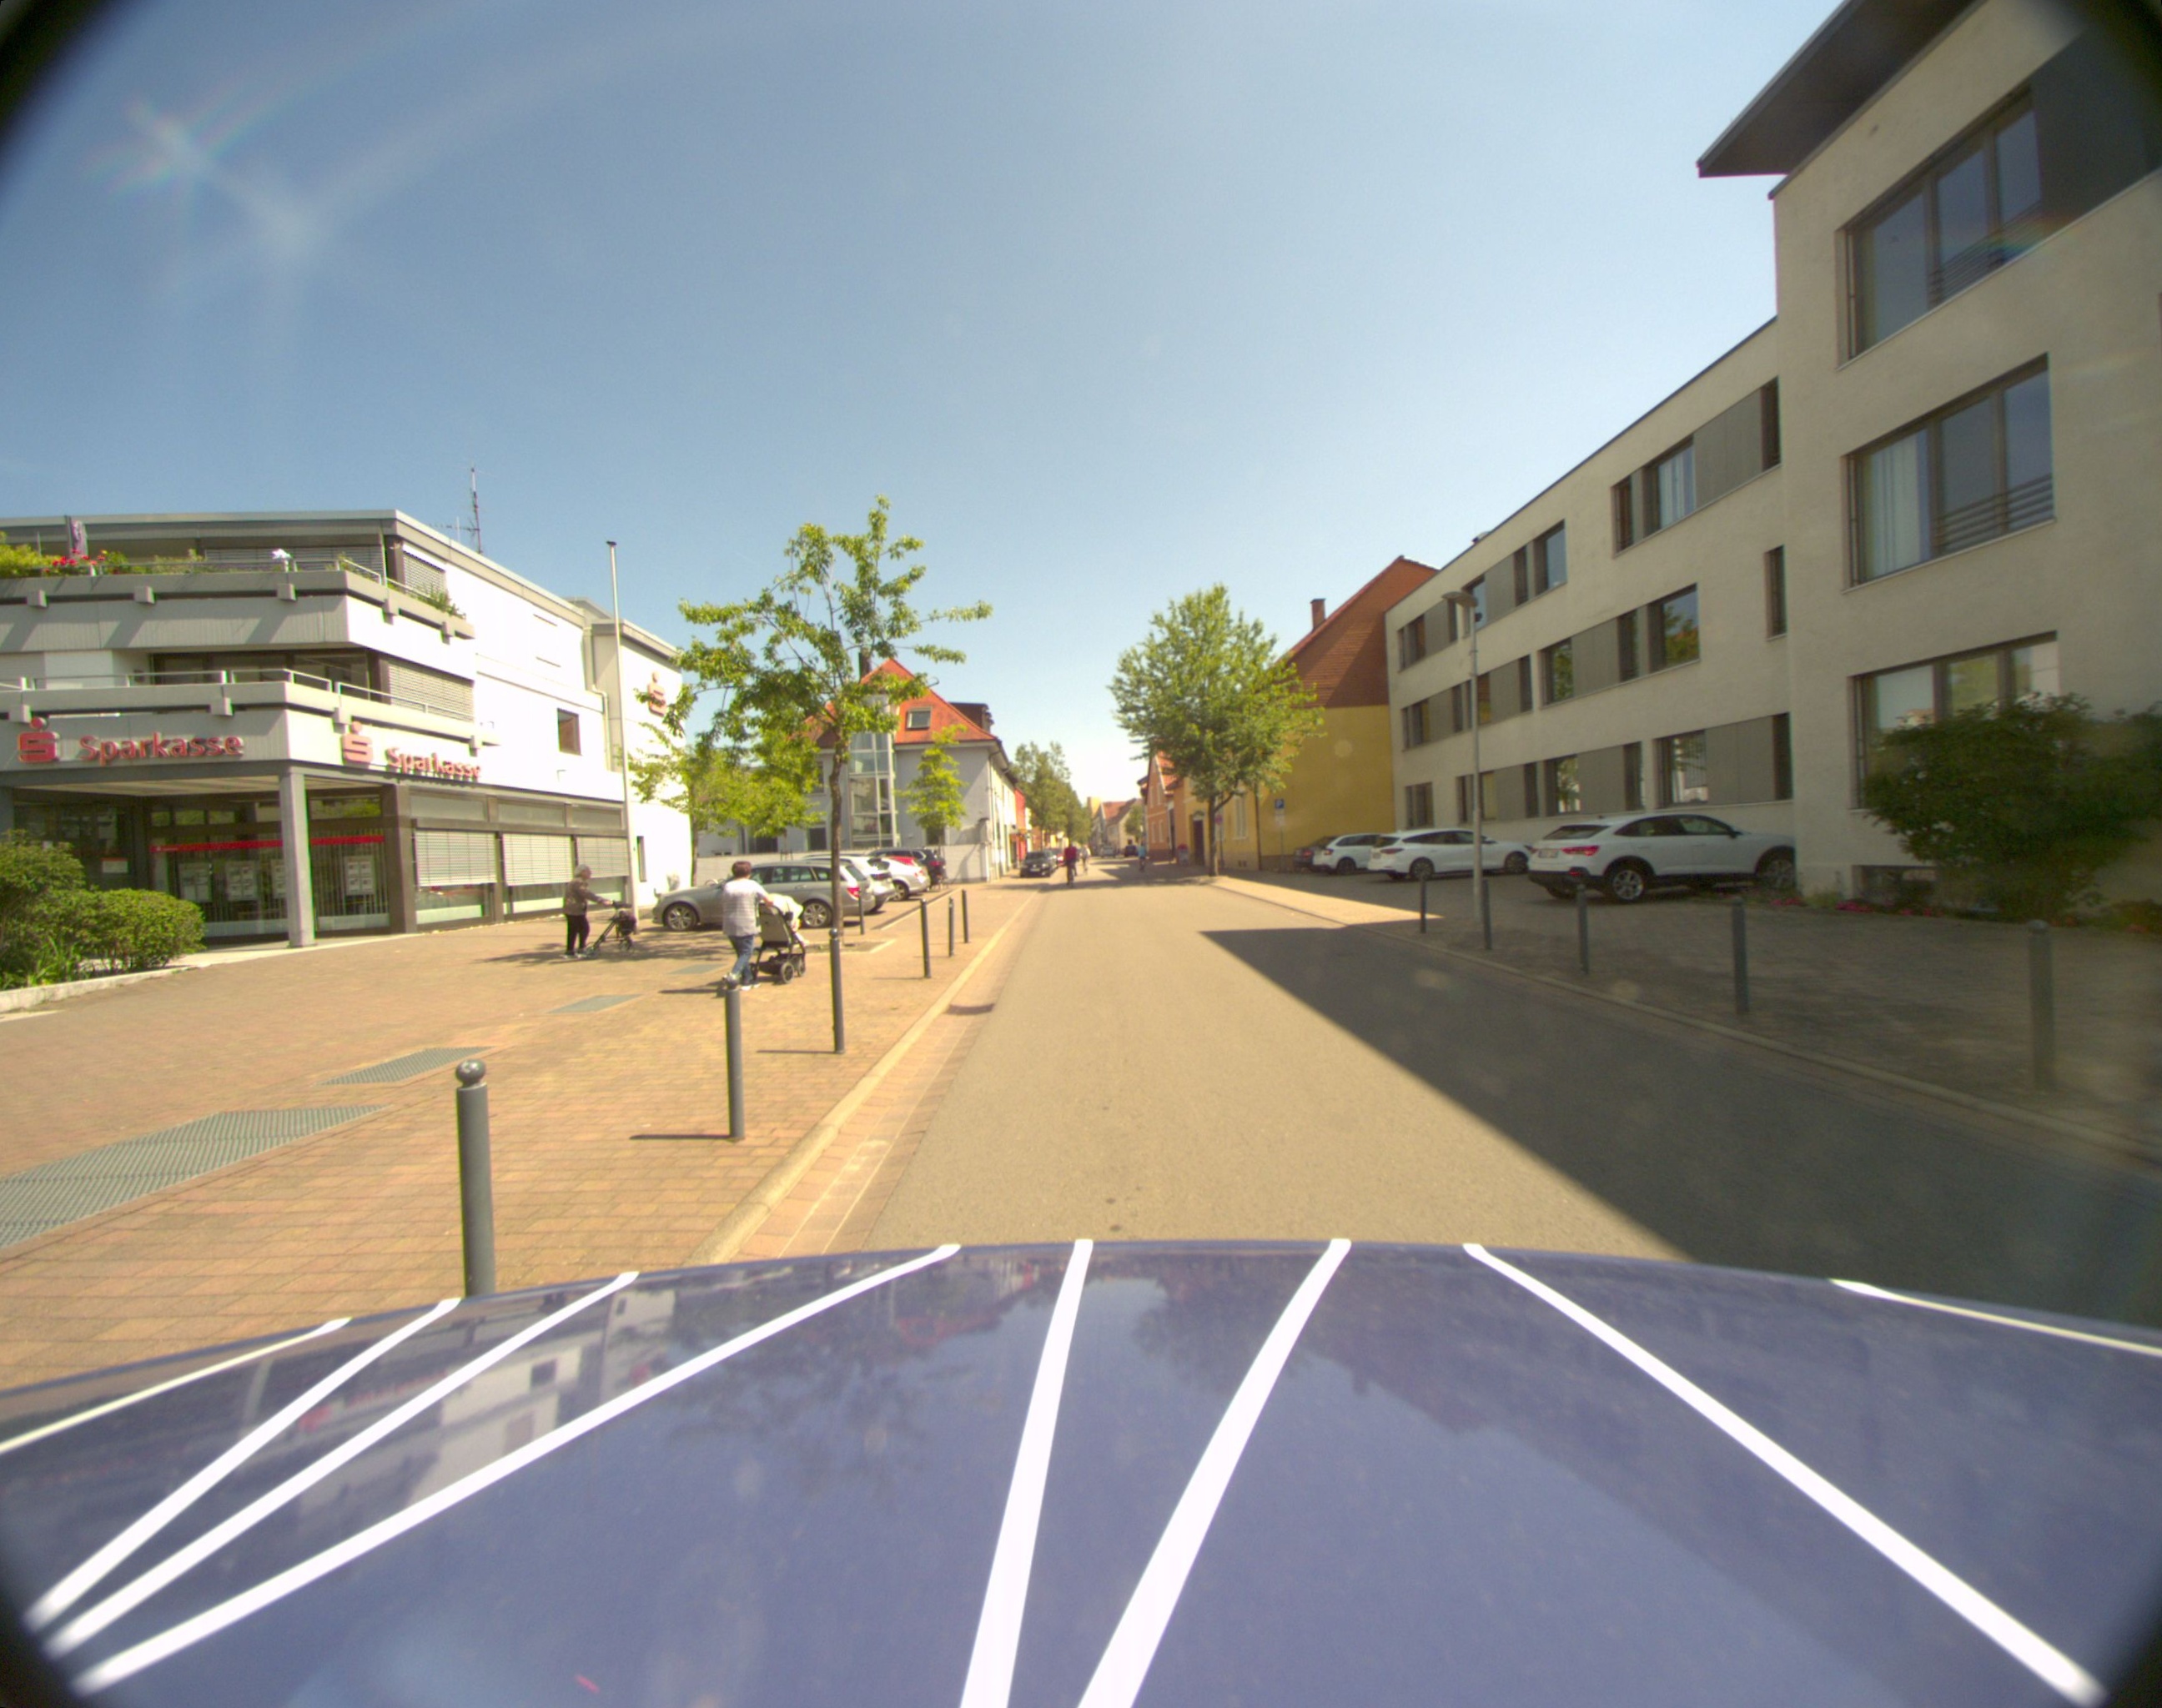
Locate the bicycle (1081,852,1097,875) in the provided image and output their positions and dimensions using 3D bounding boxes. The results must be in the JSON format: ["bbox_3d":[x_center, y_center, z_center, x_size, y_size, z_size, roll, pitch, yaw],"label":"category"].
[{"bbox_3d":[0.452,0.523,43.017,0.690,1.183,1.798,-4,1,-3],"label":"bicycle"}]

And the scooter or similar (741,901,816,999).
[{"bbox_3d":[-3.802,1.180,9.592,0.505,1.112,0.909,-1,1,4],"label":"scooter or similar"}]

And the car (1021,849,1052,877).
[{"bbox_3d":[-2.519,0.467,42.618,1.530,1.444,3.519,-2,1,-5],"label":"car"}]

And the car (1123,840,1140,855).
[{"bbox_3d":[6.592,-0.835,99.777,1.826,1.805,3.999,-2,1,-1],"label":"car"}]

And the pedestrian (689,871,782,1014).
[{"bbox_3d":[-3.947,0.974,8.756,0.512,1.507,1.048,-1,1,2],"label":"pedestrian"}]

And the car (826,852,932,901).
[{"bbox_3d":[-7.224,0.787,27.405,3.431,1.543,1.490,-2,1,-5],"label":"car"}]

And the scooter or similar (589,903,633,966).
[{"bbox_3d":[-7.614,1.290,12.337,0.547,0.940,0.535,-3,1,-30],"label":"scooter or similar"}]

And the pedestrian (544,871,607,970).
[{"bbox_3d":[-8.035,1.032,12.110,0.725,1.492,0.530,-3,1,-28],"label":"pedestrian"}]

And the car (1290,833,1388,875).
[{"bbox_3d":[9.960,-0.002,29.484,3.258,1.393,1.374,-4,1,-2],"label":"car"}]

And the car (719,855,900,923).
[{"bbox_3d":[-6.872,0.845,19.589,4.047,1.550,1.711,-1,1,-6],"label":"car"}]

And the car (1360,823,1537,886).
[{"bbox_3d":[10.593,0.003,22.082,4.324,1.470,1.513,-4,1,0],"label":"car"}]

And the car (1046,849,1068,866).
[{"bbox_3d":[-1.977,0.240,61.915,1.530,1.298,3.248,-1,1,-6],"label":"car"}]

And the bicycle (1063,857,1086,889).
[{"bbox_3d":[-0.288,0.745,30.627,0.738,1.183,1.970,-4,1,-3],"label":"bicycle"}]

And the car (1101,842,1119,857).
[{"bbox_3d":[3.521,-0.594,93.114,1.999,1.696,3.999,-2,1,-1],"label":"car"}]

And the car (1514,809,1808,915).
[{"bbox_3d":[10.389,0.118,13.818,3.997,1.539,1.748,-4,1,-2],"label":"car"}]

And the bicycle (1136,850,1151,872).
[{"bbox_3d":[3.496,0.383,42.606,0.595,1.183,1.724,-3,1,-2],"label":"bicycle"}]

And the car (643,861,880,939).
[{"bbox_3d":[-6.864,0.955,16.722,4.446,1.457,1.689,-1,2,-6],"label":"car"}]

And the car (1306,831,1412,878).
[{"bbox_3d":[9.923,0.010,27.274,3.139,1.442,1.642,-4,1,1],"label":"car"}]

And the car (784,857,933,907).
[{"bbox_3d":[-7.173,0.871,24.871,4.446,1.434,1.655,-1,1,-8],"label":"car"}]

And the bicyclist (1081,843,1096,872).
[{"bbox_3d":[0.435,0.180,43.027,0.703,1.573,0.878,-4,2,-3],"label":"bicyclist"}]

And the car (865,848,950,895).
[{"bbox_3d":[-6.710,0.650,29.547,3.041,1.727,1.344,-1,1,-5],"label":"car"}]

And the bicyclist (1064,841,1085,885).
[{"bbox_3d":[-0.265,0.359,30.429,0.703,1.707,0.759,-4,2,-3],"label":"bicyclist"}]

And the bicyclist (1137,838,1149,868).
[{"bbox_3d":[3.478,-0.048,42.759,0.538,1.630,0.551,-2,1,-2],"label":"bicyclist"}]
